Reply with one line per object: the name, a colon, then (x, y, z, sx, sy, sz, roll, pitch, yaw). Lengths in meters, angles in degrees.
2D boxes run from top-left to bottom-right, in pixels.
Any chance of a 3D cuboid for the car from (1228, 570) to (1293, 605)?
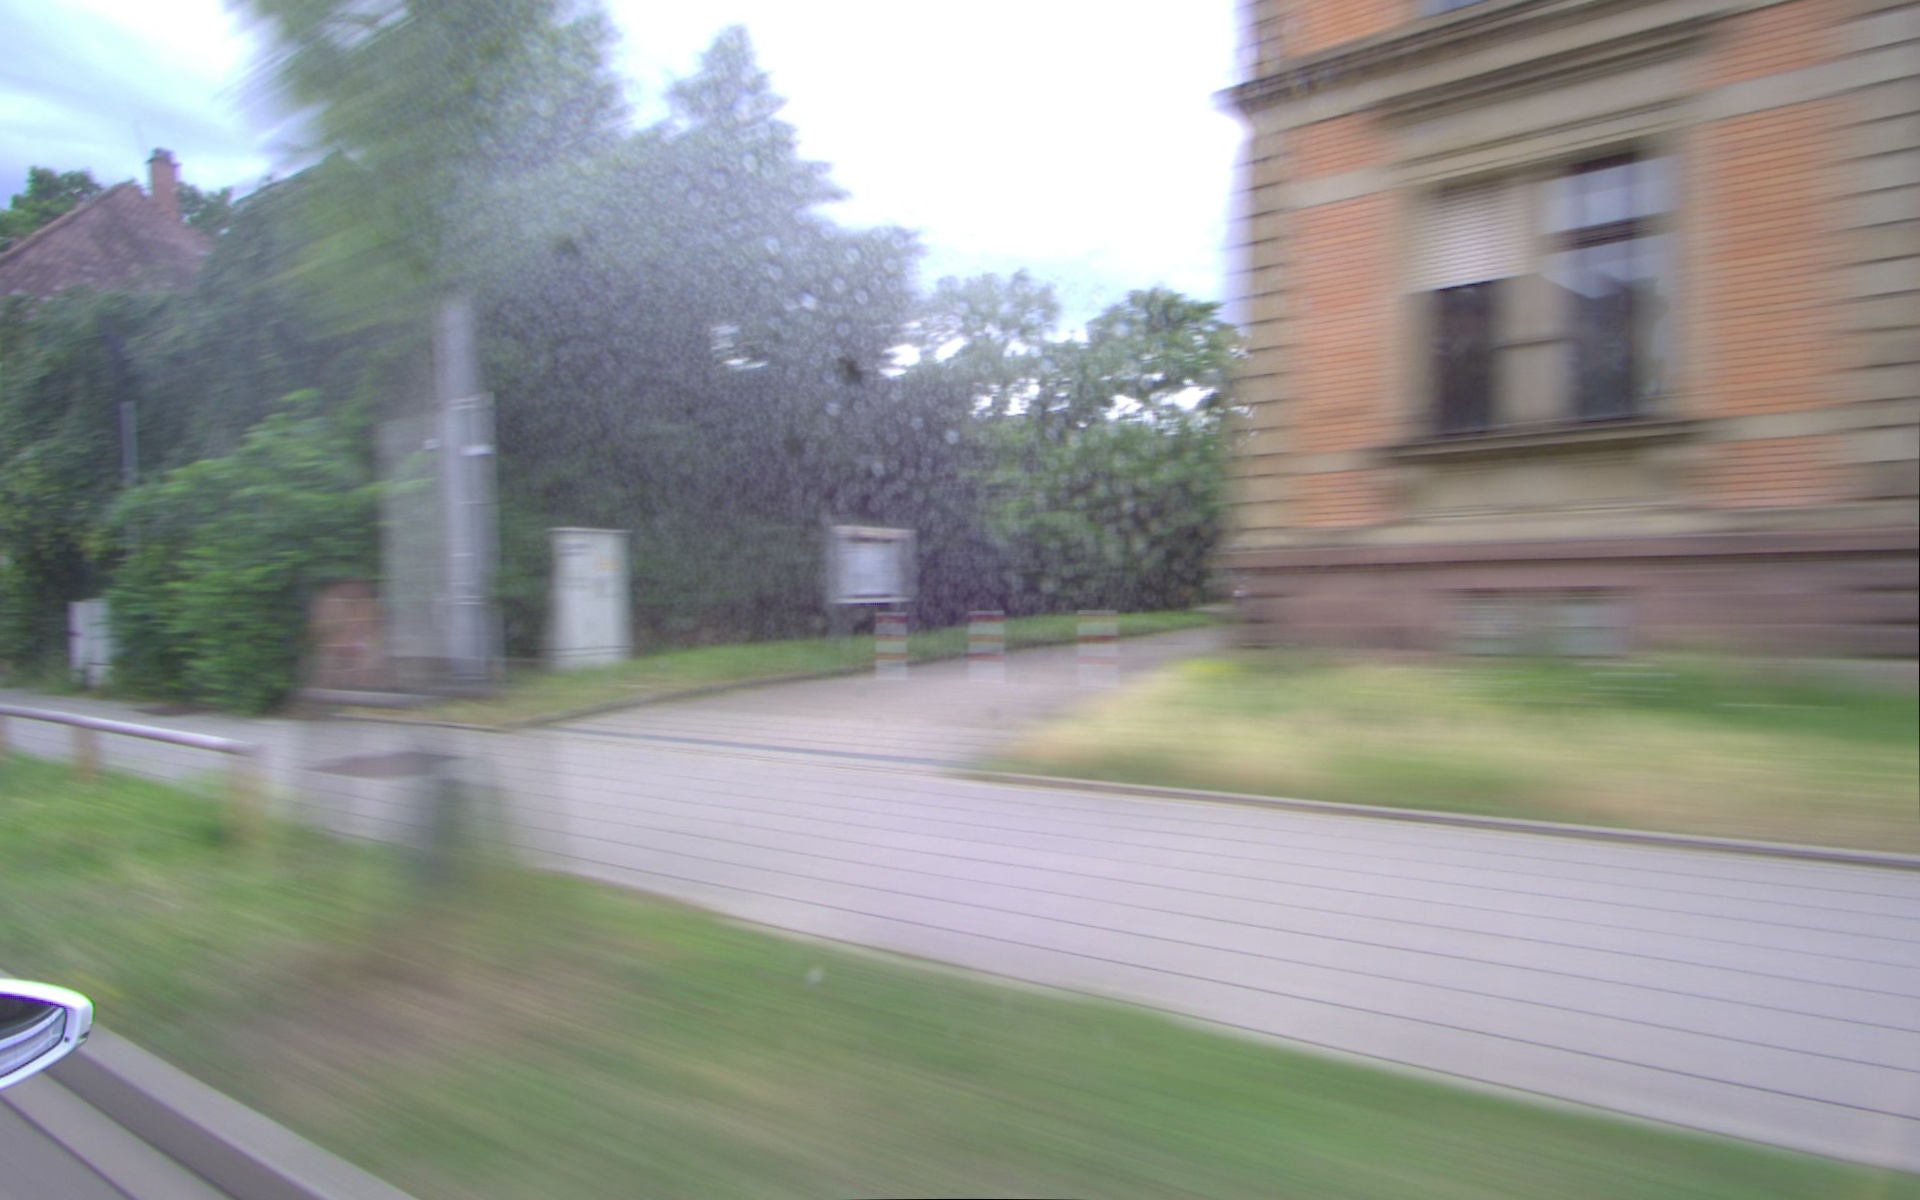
car: (14.331, -0.590, 47.624, 1.737, 1.550, 3.973, -2, 0, 36)
